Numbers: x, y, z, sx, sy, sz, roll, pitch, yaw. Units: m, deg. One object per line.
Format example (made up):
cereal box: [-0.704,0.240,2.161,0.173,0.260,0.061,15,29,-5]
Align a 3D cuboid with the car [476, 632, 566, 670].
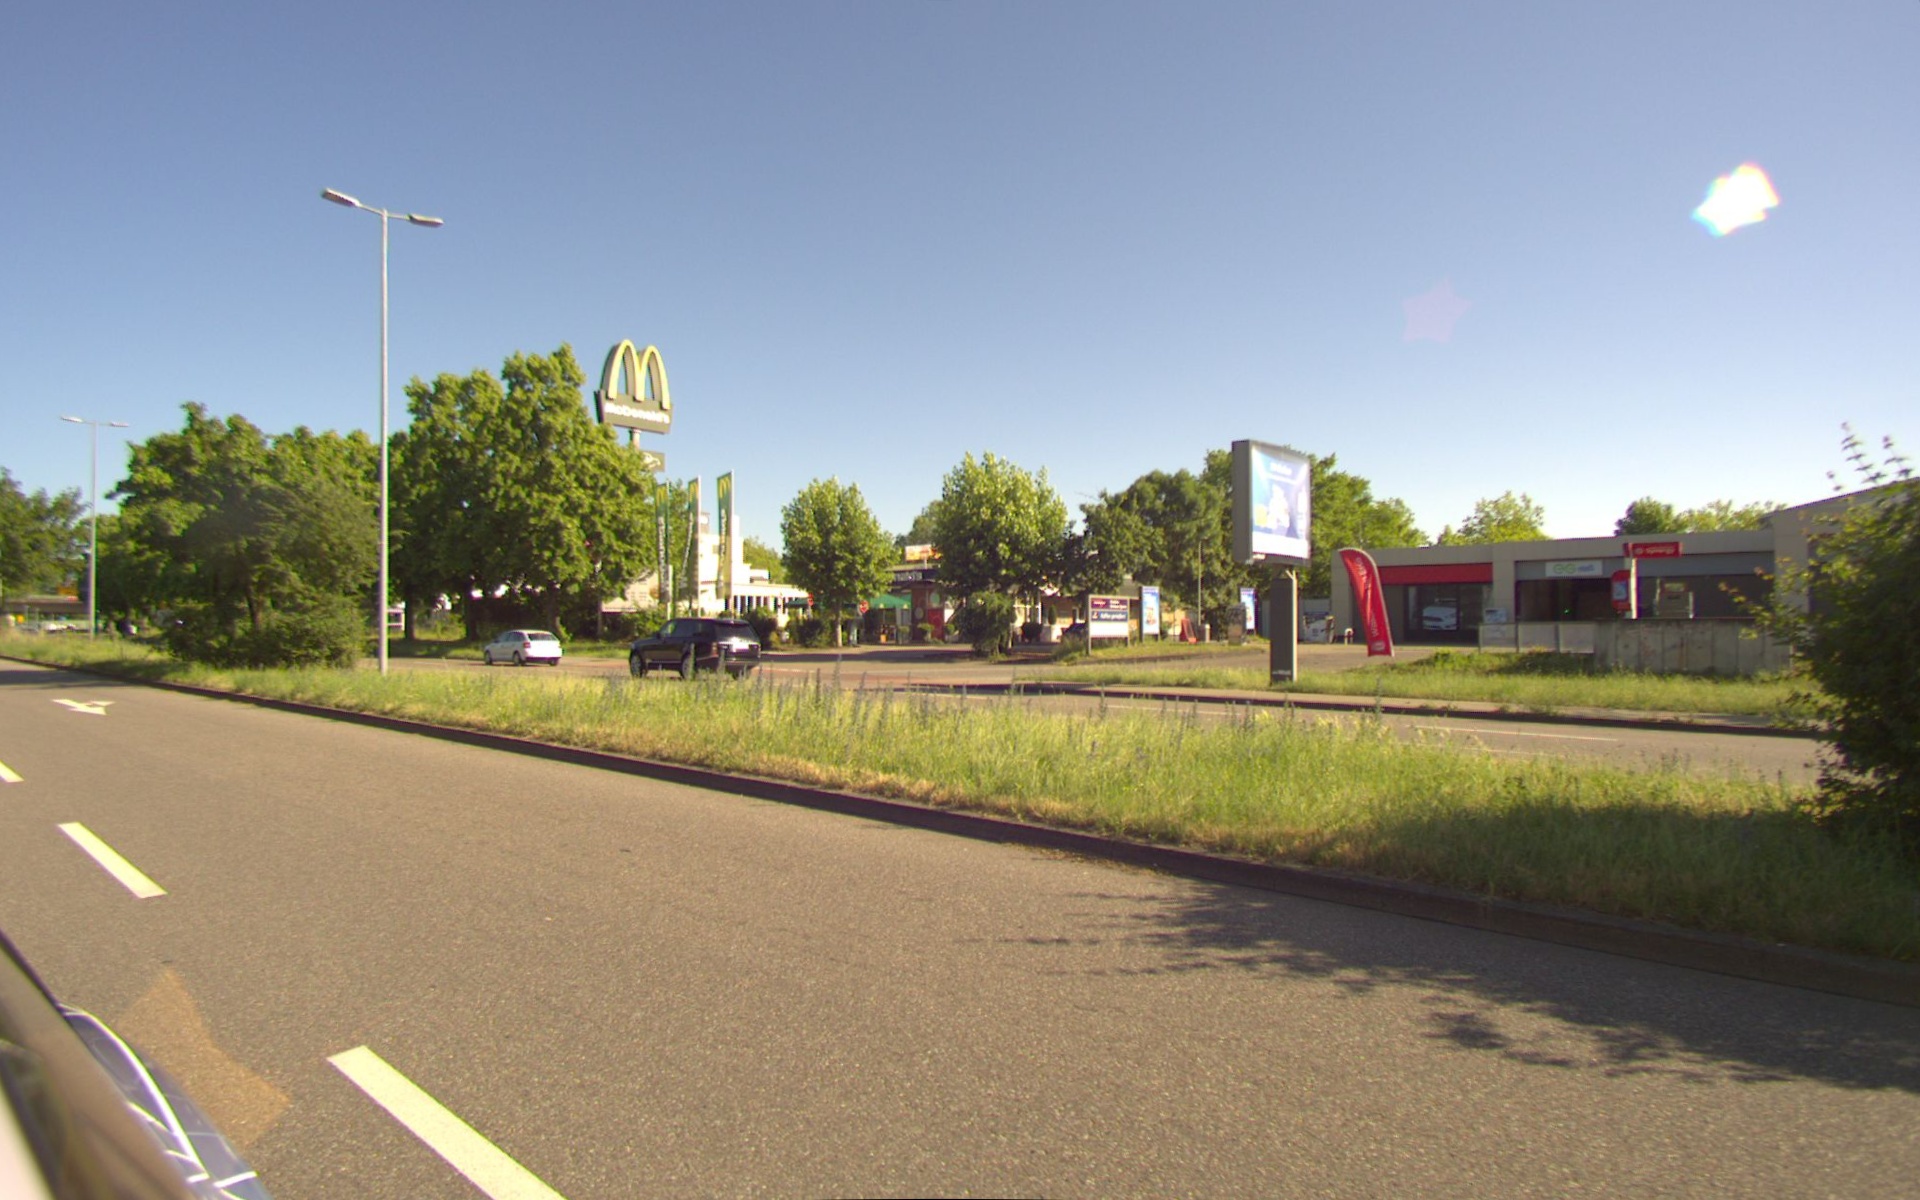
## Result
car: [-17.993,2.070,41.390,4.207,1.466,1.721,-1,-4,41]

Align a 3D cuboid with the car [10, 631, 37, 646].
car: [-105.657,4.348,114.218,4.527,1.532,1.737,-2,-5,42]

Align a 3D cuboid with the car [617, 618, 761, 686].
car: [-8.000,1.510,29.667,4.669,1.816,1.721,-2,-5,42]
